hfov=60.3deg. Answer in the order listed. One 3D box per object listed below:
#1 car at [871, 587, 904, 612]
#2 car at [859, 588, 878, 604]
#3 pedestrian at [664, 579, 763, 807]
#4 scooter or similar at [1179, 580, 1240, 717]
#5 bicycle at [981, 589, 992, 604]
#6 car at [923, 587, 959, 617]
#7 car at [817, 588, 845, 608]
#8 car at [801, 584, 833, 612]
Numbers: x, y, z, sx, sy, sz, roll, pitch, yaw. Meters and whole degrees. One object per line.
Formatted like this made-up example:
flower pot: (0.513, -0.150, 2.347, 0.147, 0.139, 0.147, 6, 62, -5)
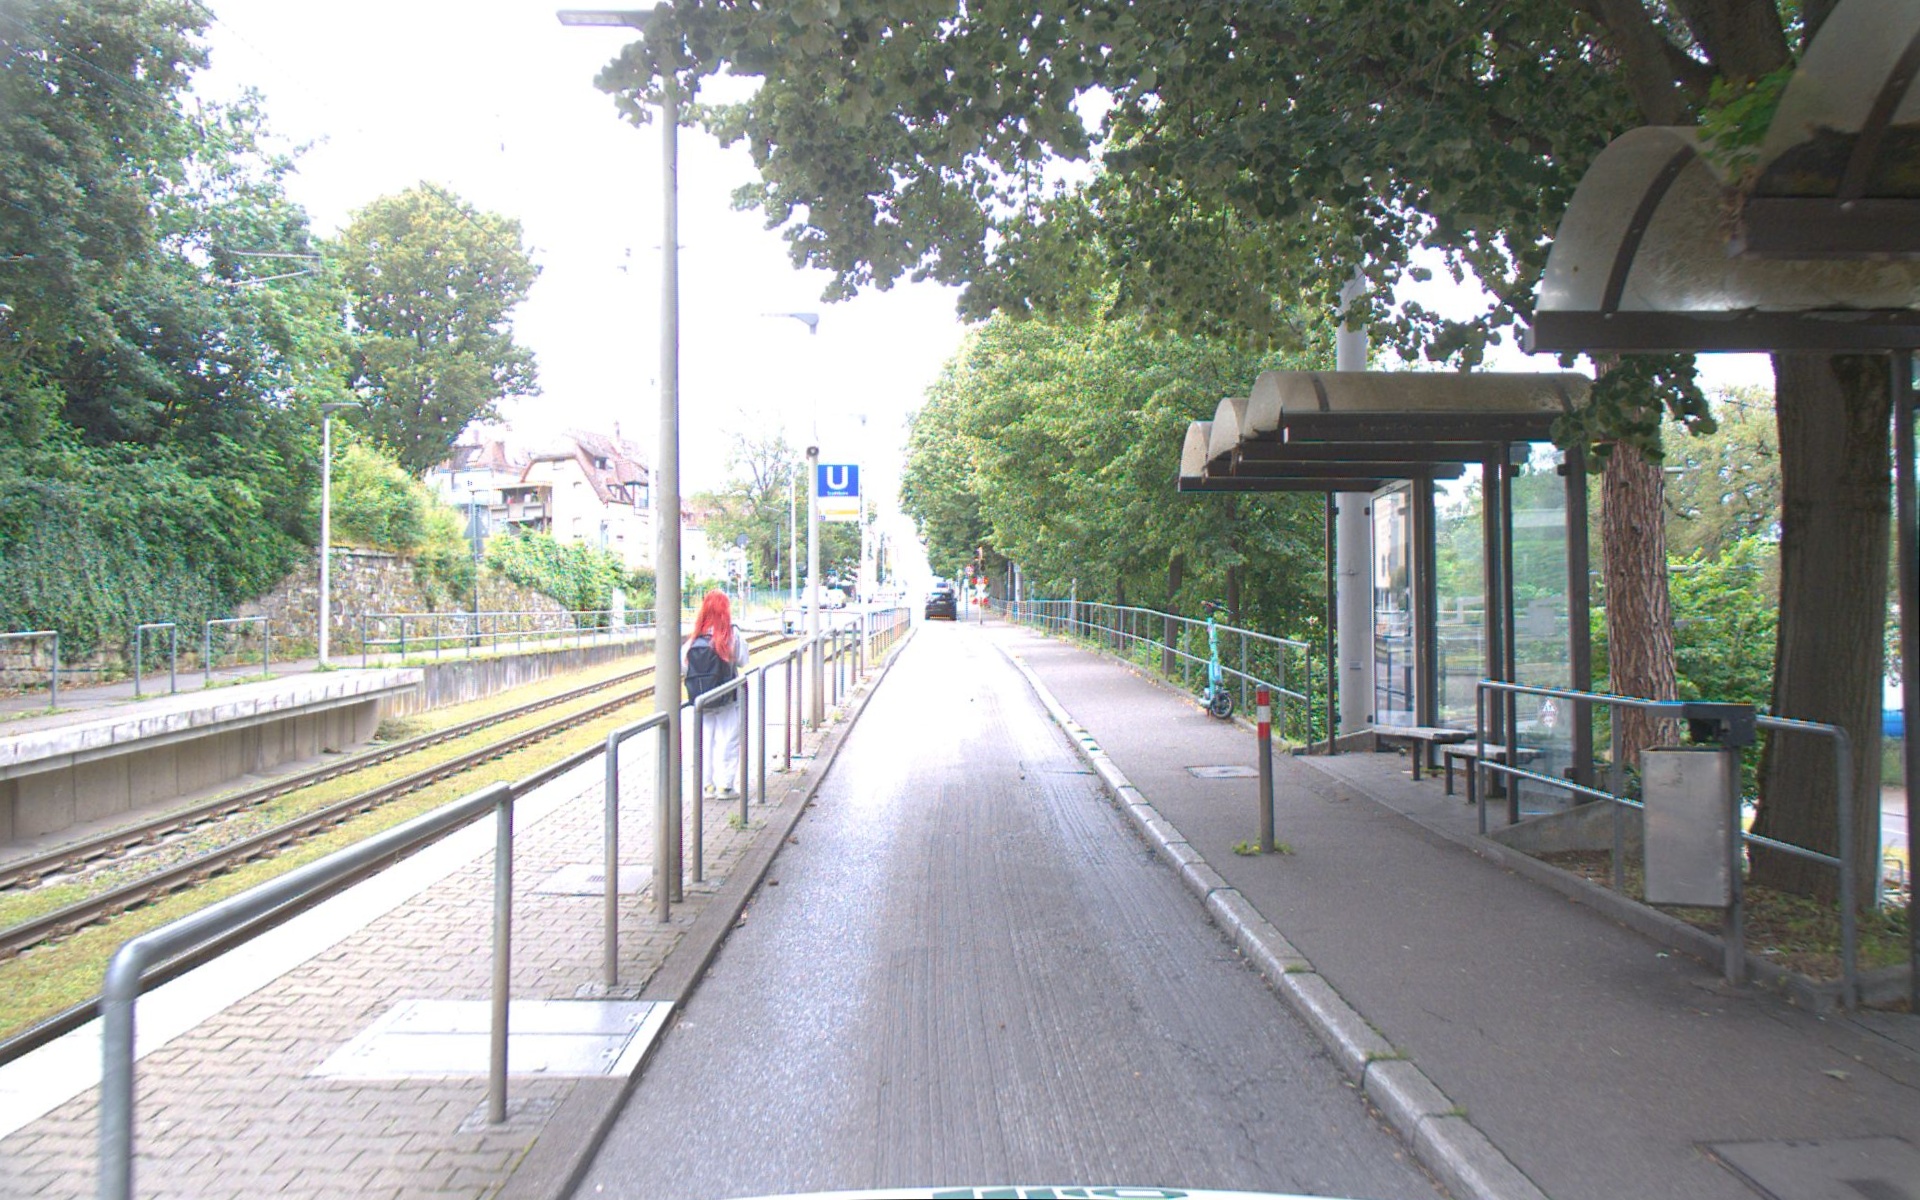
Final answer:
car: (-4.594, -0.041, 105.360, 1.953, 1.525, 4.311, 0, -1, -1)
car: (-11.088, -0.455, 200.822, 1.952, 1.840, 4.000, 0, -1, 1)
pedestrian: (-1.704, 0.624, 11.526, 0.612, 1.528, 0.739, 0, 1, -4)
scooter or similar: (2.677, 0.507, 17.827, 0.421, 1.409, 1.455, 0, -1, -1)
bicycle: (1.856, -0.259, 114.102, 0.419, 0.993, 1.790, 0, -1, -10)
car: (-1.063, 0.104, 94.711, 1.865, 1.643, 4.600, 1, 0, 1)
car: (-10.482, -0.122, 134.570, 1.846, 1.552, 4.663, -2, 0, -1)
car: (-10.364, -0.120, 120.120, 1.995, 1.914, 4.883, -3, 0, -2)
